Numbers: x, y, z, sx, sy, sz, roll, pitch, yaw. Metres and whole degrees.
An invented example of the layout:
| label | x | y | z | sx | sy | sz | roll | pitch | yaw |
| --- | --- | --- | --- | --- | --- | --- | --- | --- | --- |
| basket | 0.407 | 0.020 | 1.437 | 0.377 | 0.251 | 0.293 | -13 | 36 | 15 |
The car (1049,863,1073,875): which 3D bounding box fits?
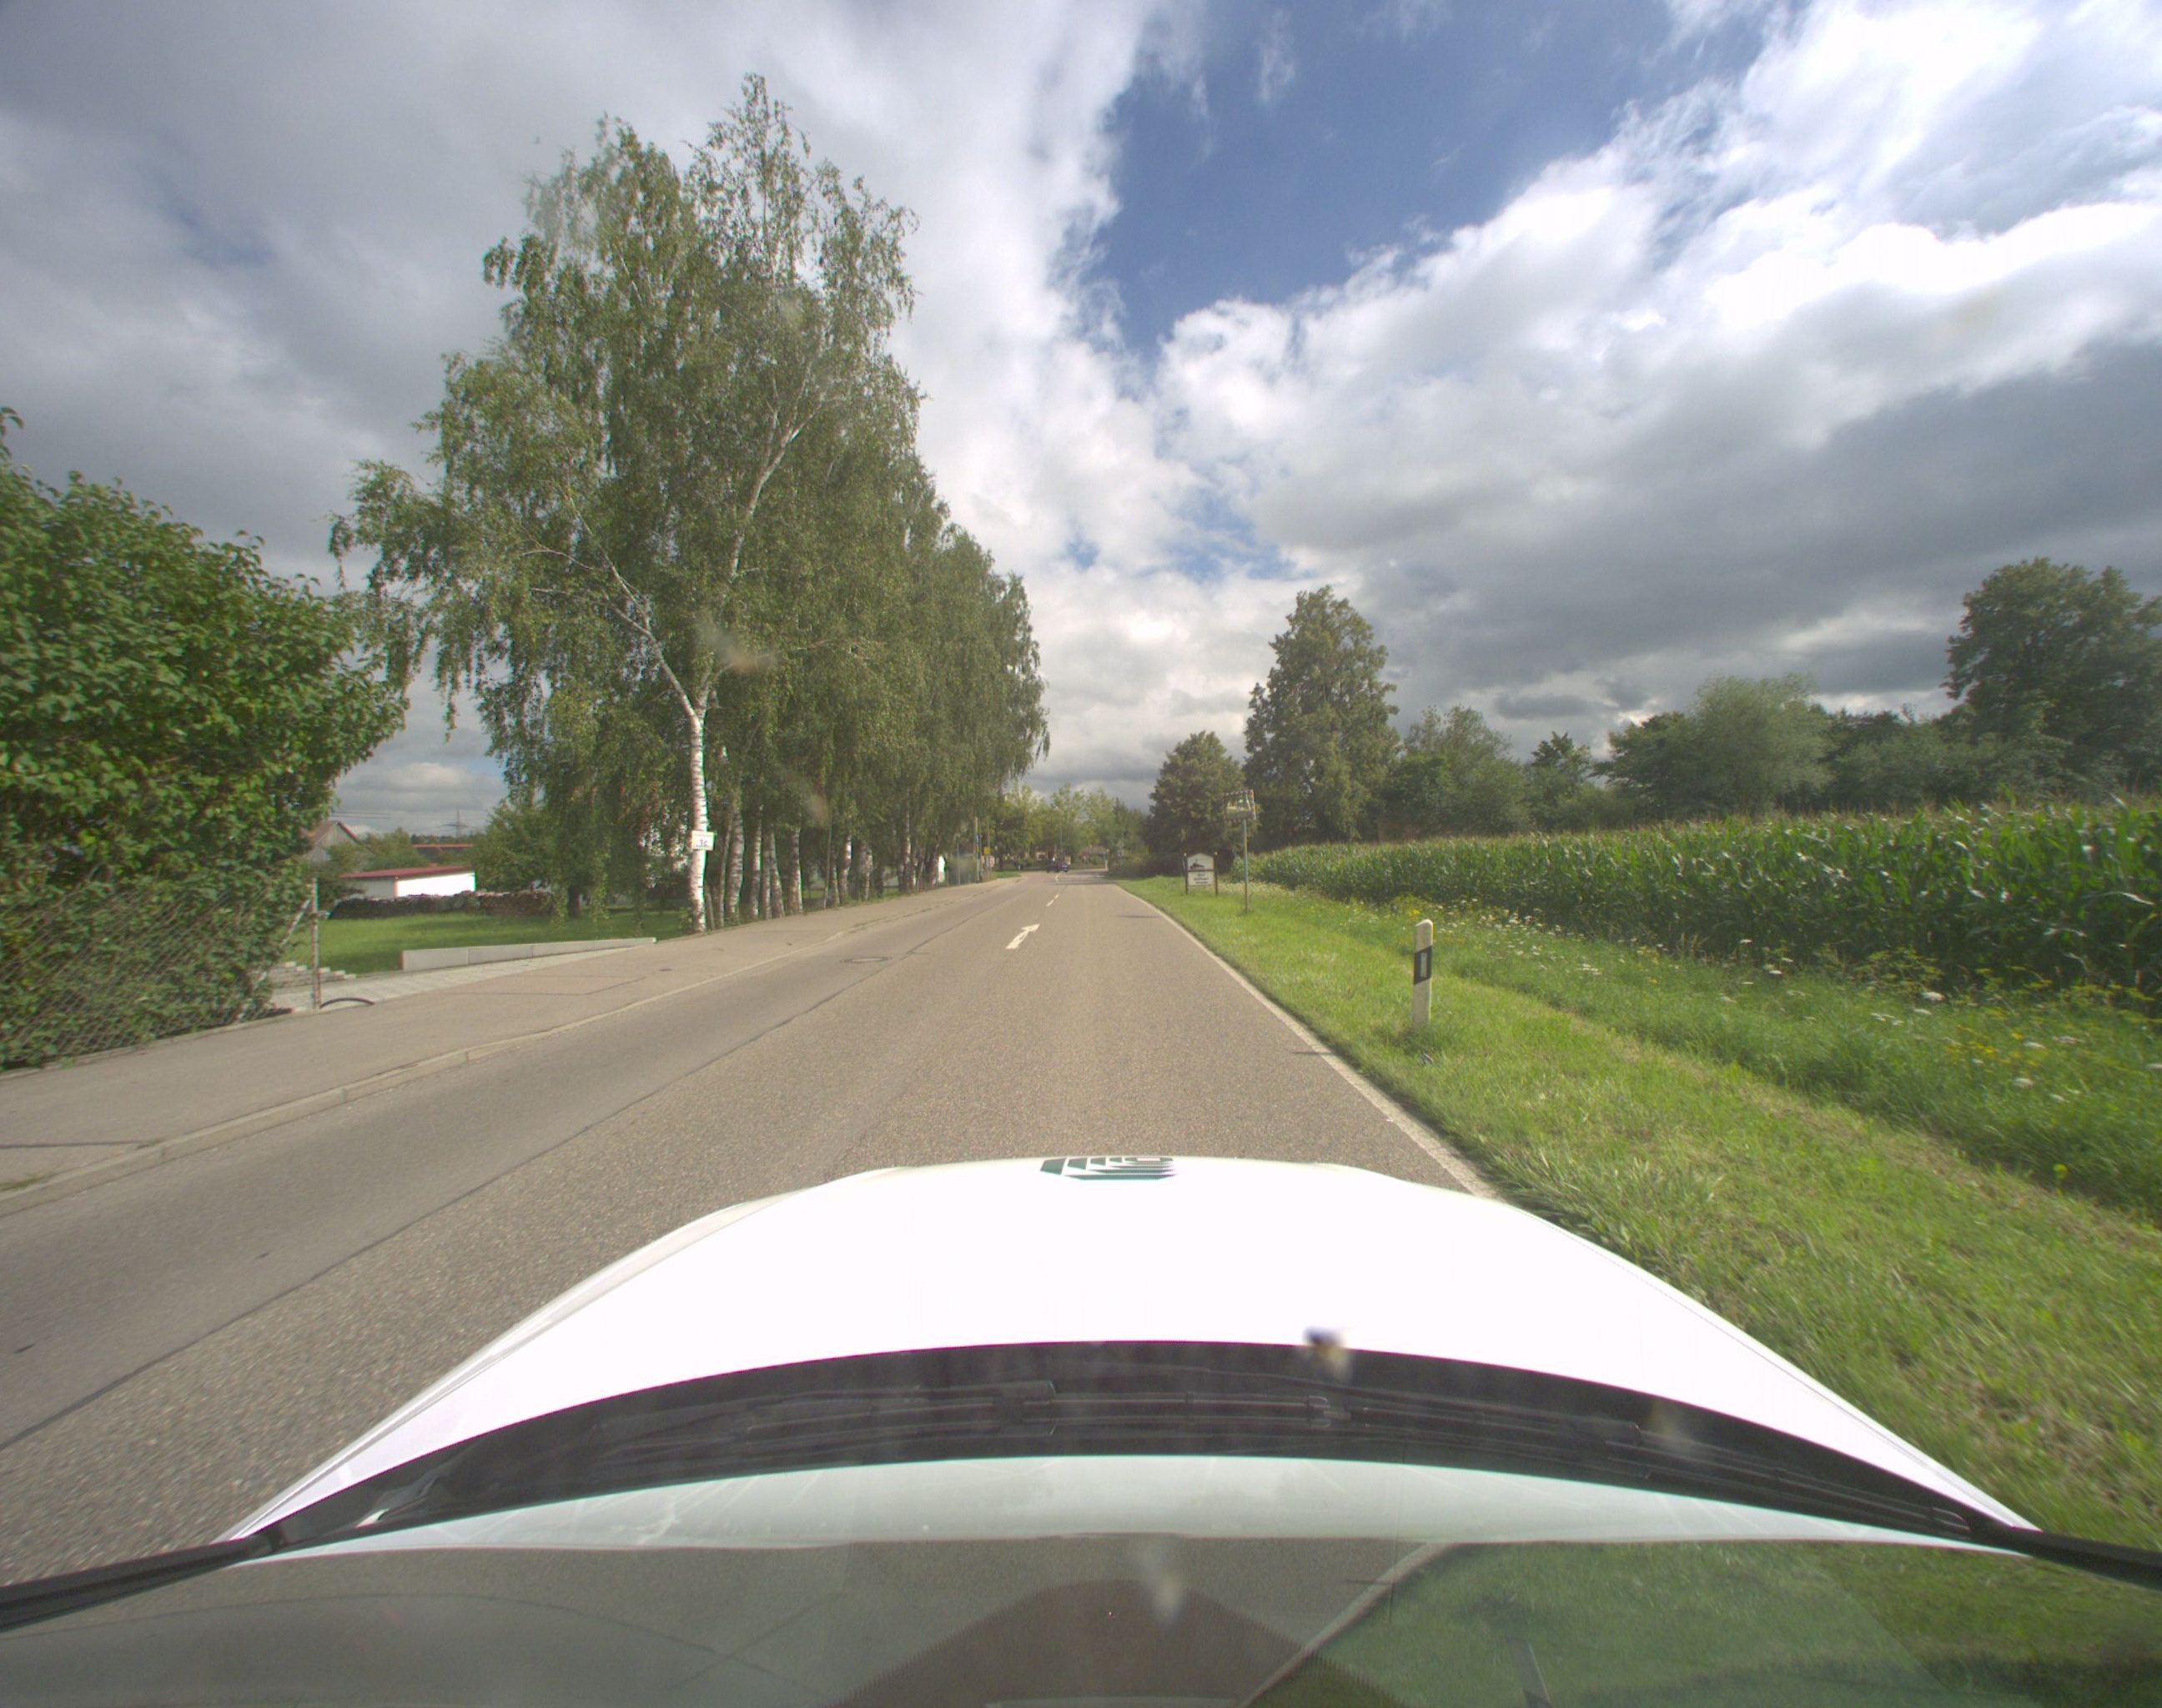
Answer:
| label | x | y | z | sx | sy | sz | roll | pitch | yaw |
| --- | --- | --- | --- | --- | --- | --- | --- | --- | --- |
| car | -2.896 | 2.174 | 115.908 | 2.002 | 1.585 | 3.969 | -2 | 0 | -23 |
